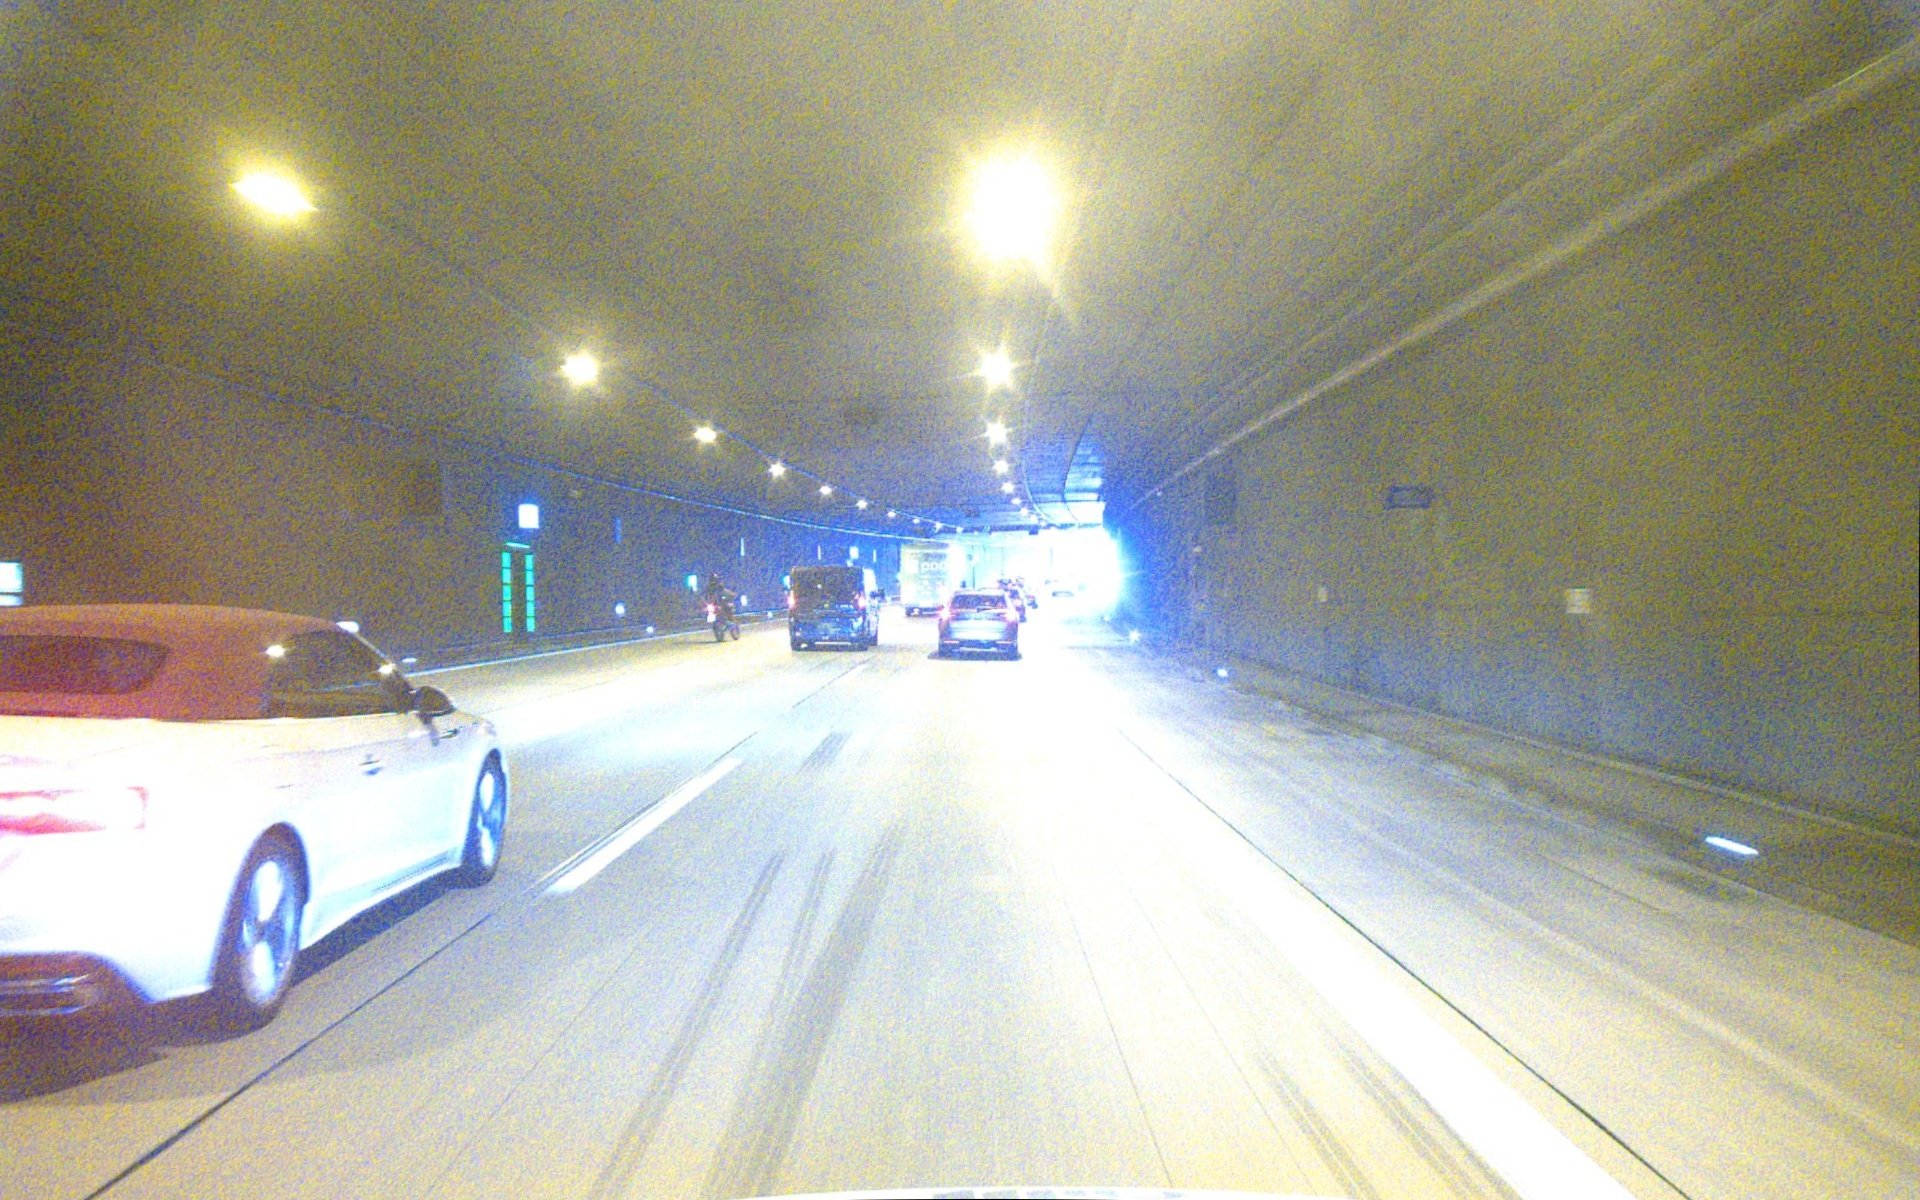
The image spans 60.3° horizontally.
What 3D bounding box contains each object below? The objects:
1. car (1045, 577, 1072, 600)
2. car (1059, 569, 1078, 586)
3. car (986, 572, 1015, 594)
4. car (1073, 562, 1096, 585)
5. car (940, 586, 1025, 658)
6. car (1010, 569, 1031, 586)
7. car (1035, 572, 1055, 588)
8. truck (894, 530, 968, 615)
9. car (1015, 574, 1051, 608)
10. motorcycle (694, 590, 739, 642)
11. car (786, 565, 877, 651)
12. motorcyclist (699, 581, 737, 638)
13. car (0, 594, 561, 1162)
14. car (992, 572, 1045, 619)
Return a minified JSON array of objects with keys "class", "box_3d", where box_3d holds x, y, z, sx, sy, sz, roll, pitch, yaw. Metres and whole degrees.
[{"class":"car","box_3d":[7.865,-0.895,131.965,1.891,1.671,3.999,0,-1,-1]},{"class":"car","box_3d":[11.558,-2.335,175.378,1.951,1.660,4.002,0,-1,4]},{"class":"car","box_3d":[3.123,-1.294,126.213,1.951,1.660,4.002,0,0,6]},{"class":"car","box_3d":[11.972,-2.533,159.029,1.952,2.049,4.000,0,-1,1]},{"class":"car","box_3d":[0.550,0.454,37.229,1.705,1.489,3.873,0,1,4]},{"class":"car","box_3d":[6.206,-2.286,168.059,1.890,1.671,4.003,0,0,6]},{"class":"car","box_3d":[9.754,-2.317,190.303,1.889,1.671,4.003,0,-1,8]},{"class":"truck","box_3d":[-1.251,-1.215,76.053,2.976,3.737,7.395,0,0,2]},{"class":"car","box_3d":[4.083,-0.491,92.577,1.910,1.803,4.000,0,-1,1]},{"class":"motorcycle","box_3d":[-6.335,0.415,43.212,0.668,1.320,2.400,0,-1,4]},{"class":"car","box_3d":[-3.040,0.141,39.814,1.870,1.978,3.871,0,1,0]},{"class":"motorcyclist","box_3d":[-6.326,0.263,43.197,0.761,1.478,1.069,0,-1,4]},{"class":"car","box_3d":[-3.075,0.711,6.784,1.667,1.443,5.060,0,0,0]},{"class":"car","box_3d":[2.413,-0.185,67.393,1.817,1.887,4.003,0,0,7]}]
